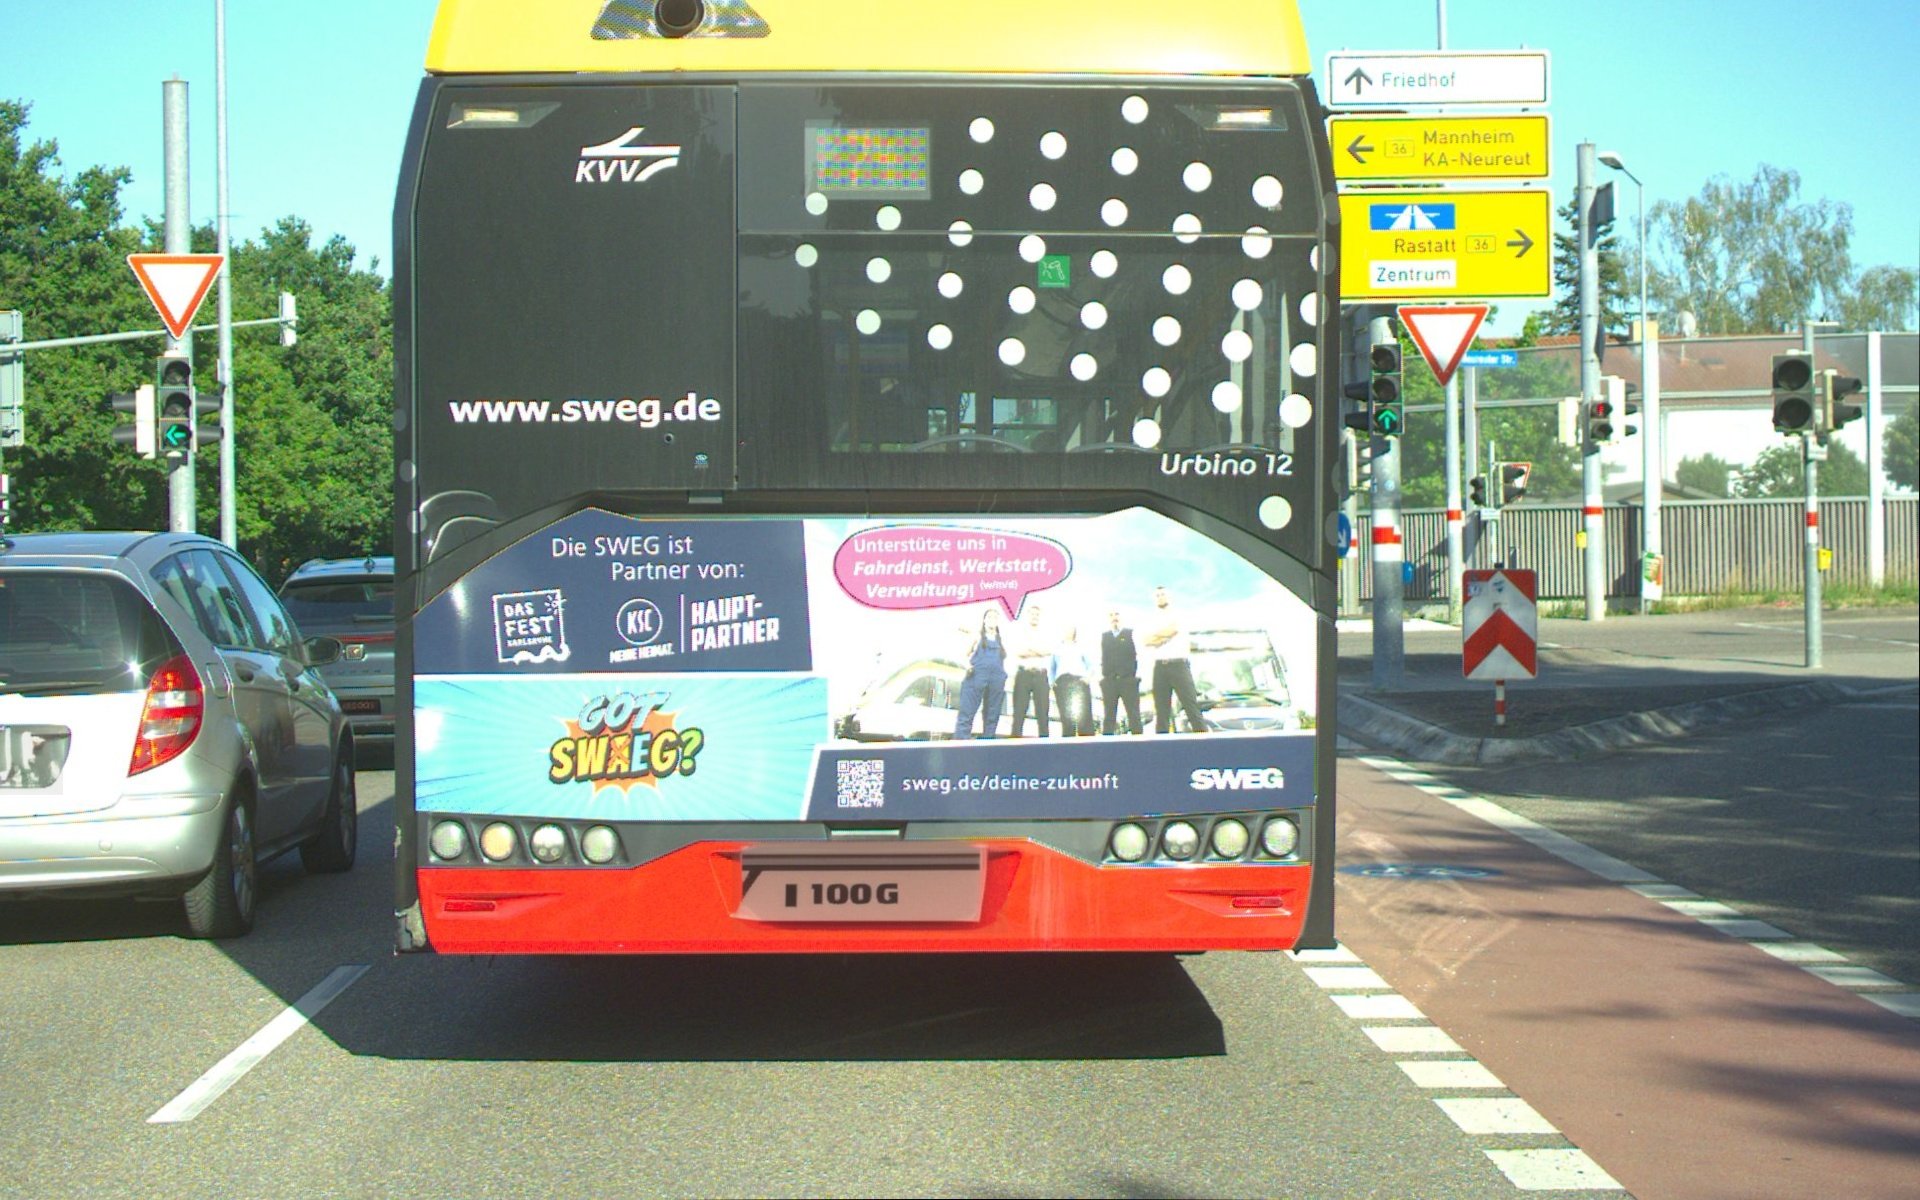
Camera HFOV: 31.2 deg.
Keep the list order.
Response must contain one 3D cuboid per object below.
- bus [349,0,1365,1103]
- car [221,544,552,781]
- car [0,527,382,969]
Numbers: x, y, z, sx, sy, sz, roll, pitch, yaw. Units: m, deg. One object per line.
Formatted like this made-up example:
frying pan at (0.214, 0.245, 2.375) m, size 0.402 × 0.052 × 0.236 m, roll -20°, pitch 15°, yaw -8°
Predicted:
bus at (-0.290, -0.404, 14.913) m, size 2.642 × 3.156 × 11.861 m, roll 0°, pitch 1°, yaw 0°
car at (-3.904, 0.371, 23.941) m, size 1.692 × 1.453 × 3.751 m, roll -2°, pitch 1°, yaw -1°
car at (-3.646, 0.519, 14.494) m, size 1.761 × 1.584 × 4.000 m, roll -2°, pitch 1°, yaw -1°
